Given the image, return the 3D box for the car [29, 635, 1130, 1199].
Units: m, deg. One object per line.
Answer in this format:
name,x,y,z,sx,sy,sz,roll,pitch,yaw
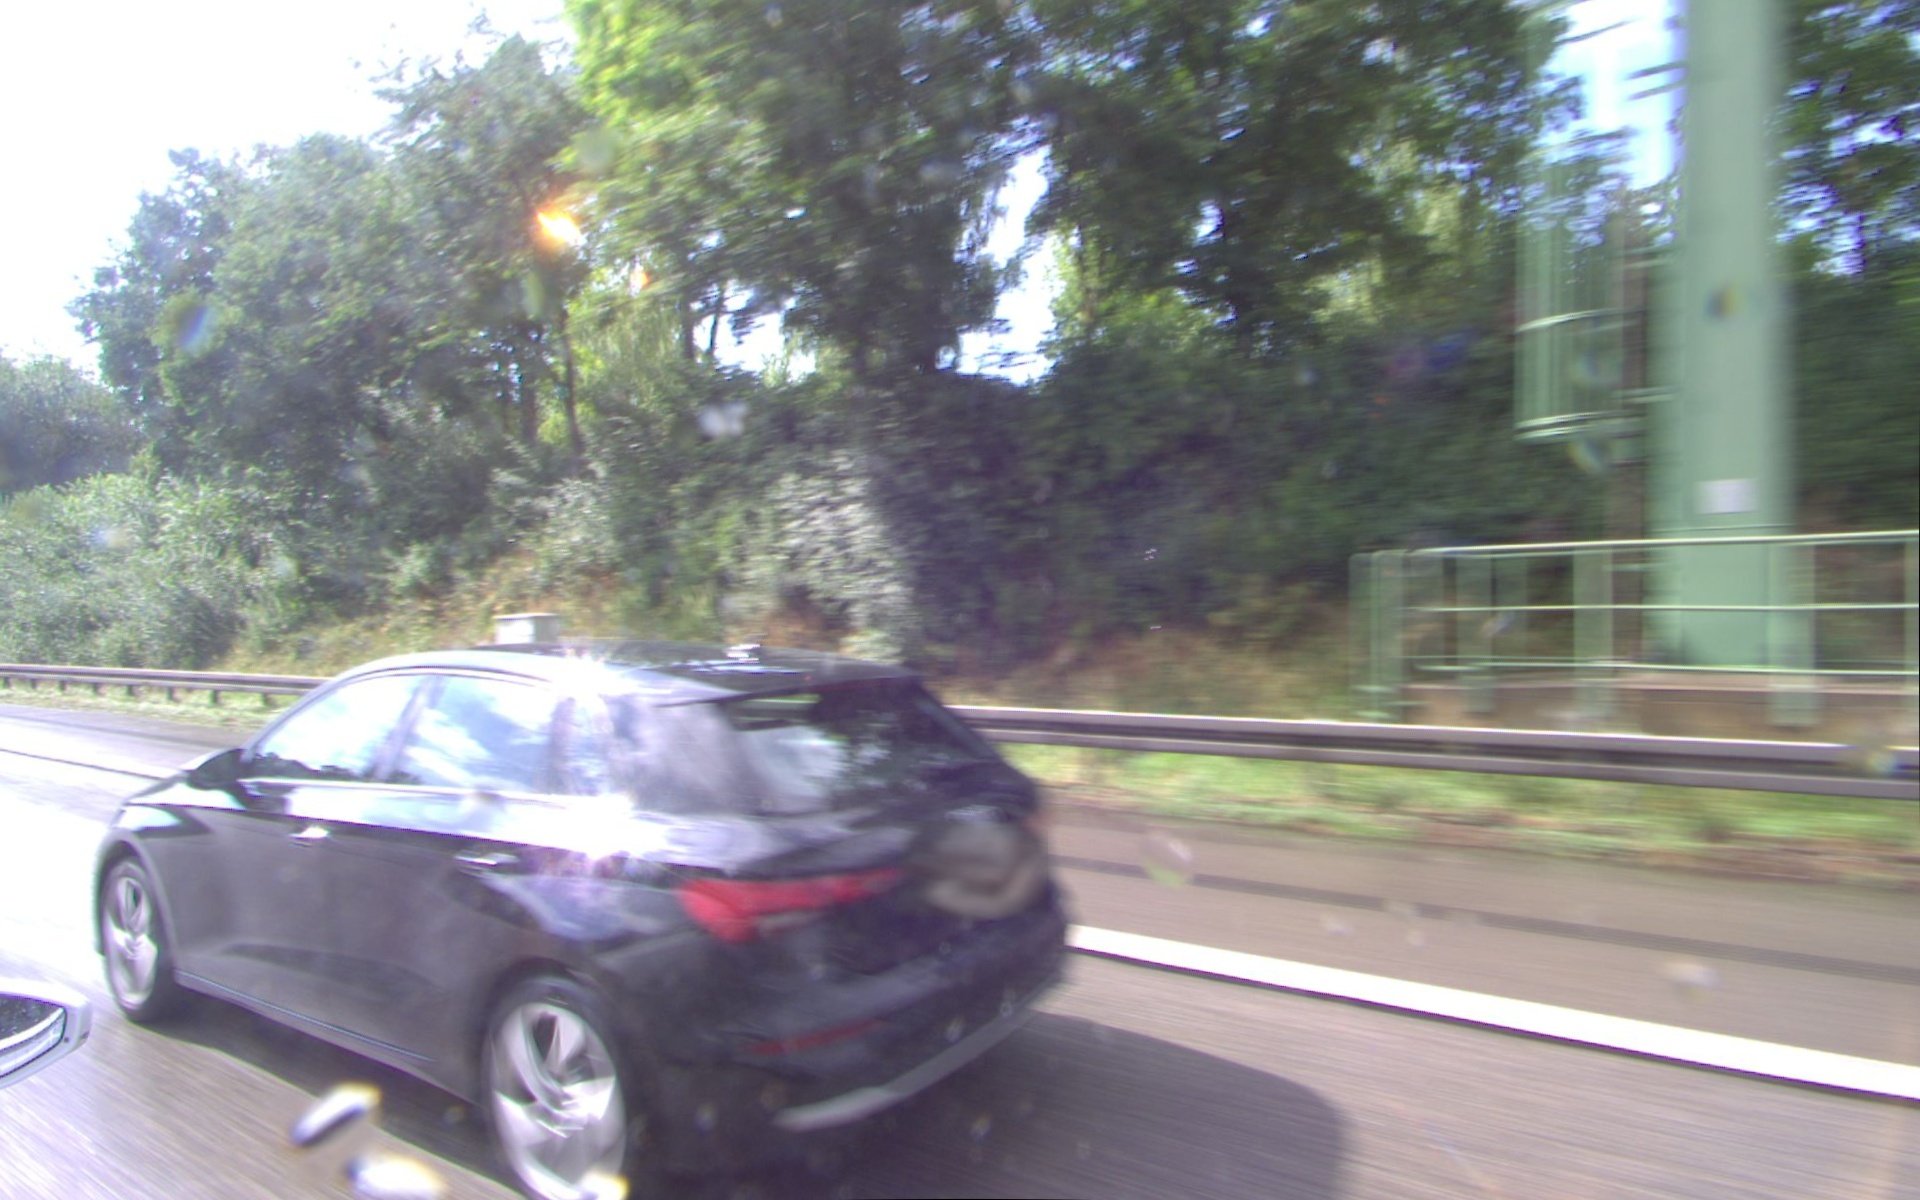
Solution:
car,-1.695,0.851,3.848,4.306,1.414,1.752,-1,-2,33
